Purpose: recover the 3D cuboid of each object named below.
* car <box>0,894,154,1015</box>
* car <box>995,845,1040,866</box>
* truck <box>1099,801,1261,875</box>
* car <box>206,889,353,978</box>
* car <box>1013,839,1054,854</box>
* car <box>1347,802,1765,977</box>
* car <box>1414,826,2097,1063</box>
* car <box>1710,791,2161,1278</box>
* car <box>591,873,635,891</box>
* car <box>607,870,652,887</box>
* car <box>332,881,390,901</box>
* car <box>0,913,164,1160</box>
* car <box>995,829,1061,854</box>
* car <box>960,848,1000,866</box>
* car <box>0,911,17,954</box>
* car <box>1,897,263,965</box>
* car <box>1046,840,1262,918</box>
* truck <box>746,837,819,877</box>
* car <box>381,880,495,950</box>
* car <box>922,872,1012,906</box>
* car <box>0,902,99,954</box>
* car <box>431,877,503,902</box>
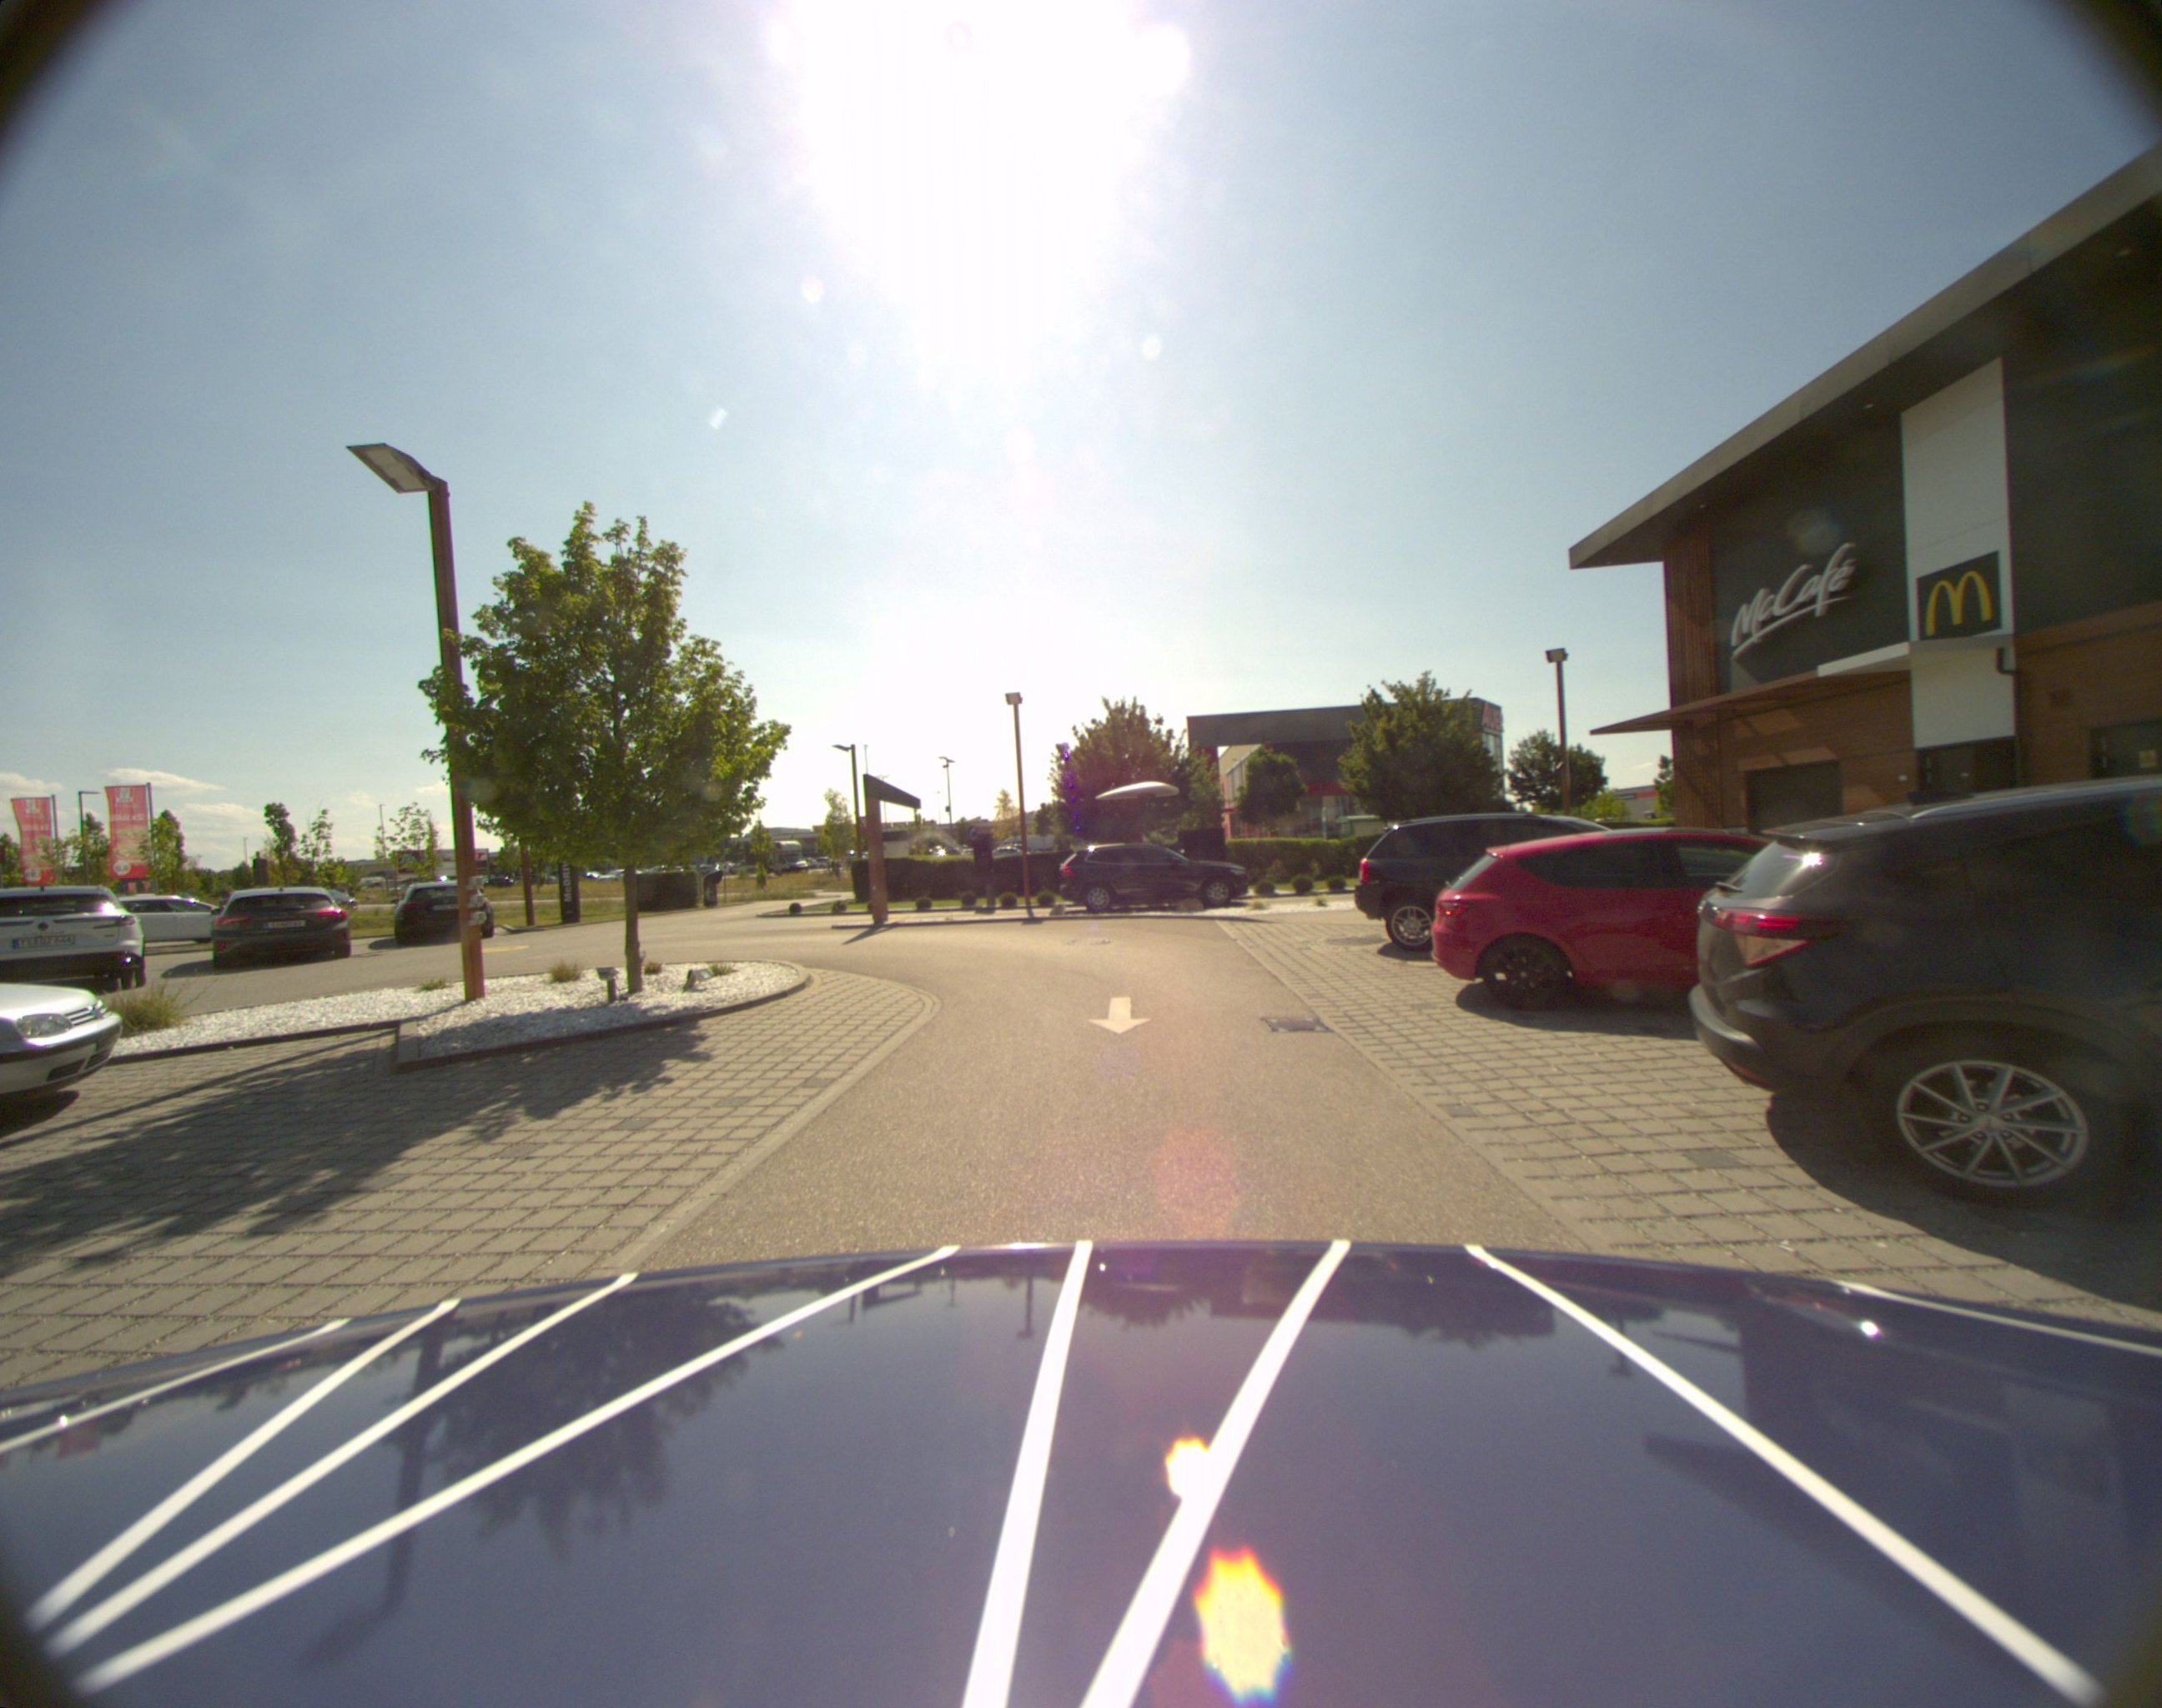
[{"bbox_3d":[-16.051,1.470,11.903,4.044,1.547,1.810,-2,1,39],"label":"car"},{"bbox_3d":[-5.979,0.126,71.999,3.997,1.718,1.894,-3,1,0],"label":"car"},{"bbox_3d":[5.809,-0.937,45.497,9.121,3.844,3.211,-3,1,4],"label":"truck"},{"bbox_3d":[-16.158,1.486,15.293,4.075,1.414,1.801,-2,1,42],"label":"car"},{"bbox_3d":[-4.831,-0.774,76.936,3.904,1.334,1.665,-3,1,3],"label":"car"},{"bbox_3d":[5.596,0.384,9.274,4.028,1.696,1.678,-3,1,42],"label":"car"},{"bbox_3d":[4.965,0.619,6.304,3.763,1.435,1.678,-3,0,32],"label":"car"},{"bbox_3d":[4.789,0.543,2.690,3.834,1.622,1.761,-2,1,37],"label":"car"},{"bbox_3d":[-45.787,2.690,74.434,1.537,1.547,3.226,-2,1,31],"label":"car"},{"bbox_3d":[-41.754,2.227,70.298,1.537,1.376,3.226,-2,1,31],"label":"car"},{"bbox_3d":[-60.800,3.107,64.195,3.992,1.455,1.763,-3,1,17],"label":"car"},{"bbox_3d":[-8.426,1.235,4.237,3.910,1.418,1.702,-3,0,-39],"label":"car"},{"bbox_3d":[-5.505,-1.310,80.041,6.565,2.231,2.301,-3,1,3],"label":"car"},{"bbox_3d":[-11.203,0.295,84.288,1.889,1.718,4.265,-2,1,35],"label":"car"},{"bbox_3d":[-38.389,2.799,24.850,1.685,1.445,3.758,-3,1,11],"label":"car"},{"bbox_3d":[-26.476,2.097,21.458,1.885,1.390,4.158,-3,0,11],"label":"car"},{"bbox_3d":[1.768,0.593,19.092,5.060,1.620,1.925,-3,1,2],"label":"car"},{"bbox_3d":[-27.079,0.293,68.827,7.545,3.333,2.427,-2,2,37],"label":"truck"},{"bbox_3d":[-15.936,1.427,18.772,1.917,1.414,3.765,-3,1,-43],"label":"car"},{"bbox_3d":[-5.779,1.753,38.866,4.320,1.414,1.735,-3,1,-3],"label":"car"},{"bbox_3d":[-33.603,2.358,23.350,1.685,1.445,3.758,-3,1,11],"label":"car"},{"bbox_3d":[-42.726,2.463,52.880,3.770,1.551,1.803,-3,1,10],"label":"car"}]
